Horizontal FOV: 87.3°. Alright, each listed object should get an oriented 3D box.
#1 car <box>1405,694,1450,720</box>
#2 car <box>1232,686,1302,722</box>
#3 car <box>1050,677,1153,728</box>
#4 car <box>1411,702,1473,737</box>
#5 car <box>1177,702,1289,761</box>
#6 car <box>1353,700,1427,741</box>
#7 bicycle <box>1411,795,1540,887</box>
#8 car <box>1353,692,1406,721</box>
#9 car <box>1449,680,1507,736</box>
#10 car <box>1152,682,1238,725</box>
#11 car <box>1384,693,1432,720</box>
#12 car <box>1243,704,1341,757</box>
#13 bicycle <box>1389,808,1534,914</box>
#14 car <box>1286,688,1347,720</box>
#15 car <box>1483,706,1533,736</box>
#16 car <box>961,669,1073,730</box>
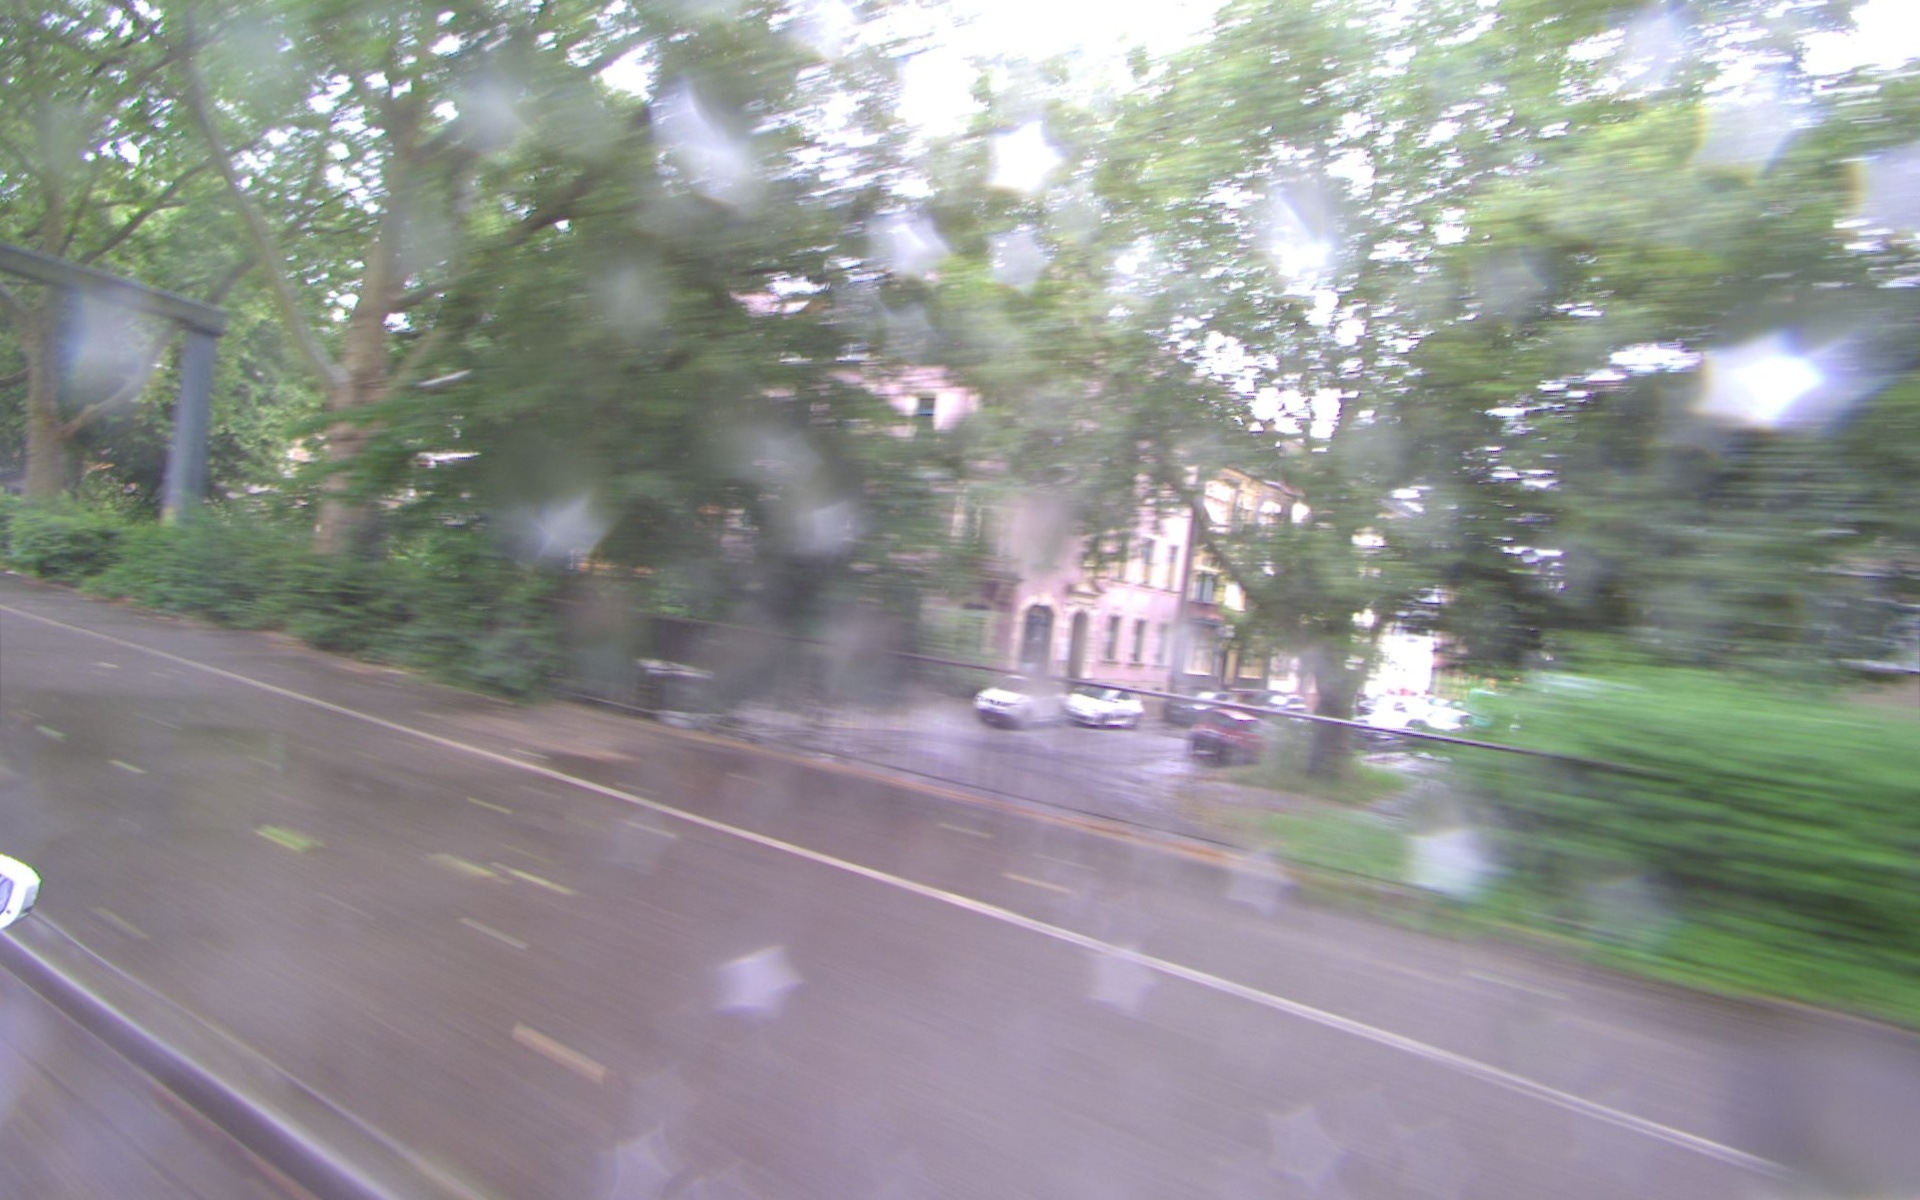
[{"bbox_3d":[32.984,7.545,70.916,1.898,1.487,3.894,5,-2,39],"label":"car"},{"bbox_3d":[15.054,5.101,49.198,1.898,1.487,3.894,5,-2,39],"label":"car"},{"bbox_3d":[5.194,3.736,36.690,1.898,1.529,3.894,5,-2,39],"label":"car"},{"bbox_3d":[24.565,6.062,51.239,1.898,1.487,3.894,5,-2,39],"label":"car"},{"bbox_3d":[8.570,4.065,31.382,1.898,1.487,3.894,5,-2,39],"label":"car"},{"bbox_3d":[18.717,5.214,43.681,1.898,1.487,3.894,5,-2,39],"label":"car"},{"bbox_3d":[9.696,4.525,19.021,1.993,1.189,0.643,9,3,25],"label":"bicycle"},{"bbox_3d":[25.764,6.524,61.776,1.898,1.487,3.894,5,-2,39],"label":"car"},{"bbox_3d":[28.512,5.936,55.311,1.898,2.738,3.894,5,-1,39],"label":"car"},{"bbox_3d":[9.913,4.353,42.272,1.898,1.529,3.894,5,-2,39],"label":"car"},{"bbox_3d":[29.536,7.024,66.287,1.898,1.487,3.894,5,-2,39],"label":"car"},{"bbox_3d":[11.583,4.488,34.964,1.898,1.487,3.894,5,-2,39],"label":"car"},{"bbox_3d":[8.334,4.321,16.815,1.993,1.188,0.644,9,1,25],"label":"bicycle"},{"bbox_3d":[19.640,5.712,55.386,1.898,1.487,3.894,5,-2,39],"label":"car"},{"bbox_3d":[33.304,7.325,61.118,1.898,1.487,3.894,5,-2,39],"label":"car"},{"bbox_3d":[1.925,3.224,32.943,1.894,1.679,3.993,5,-2,31],"label":"car"}]
